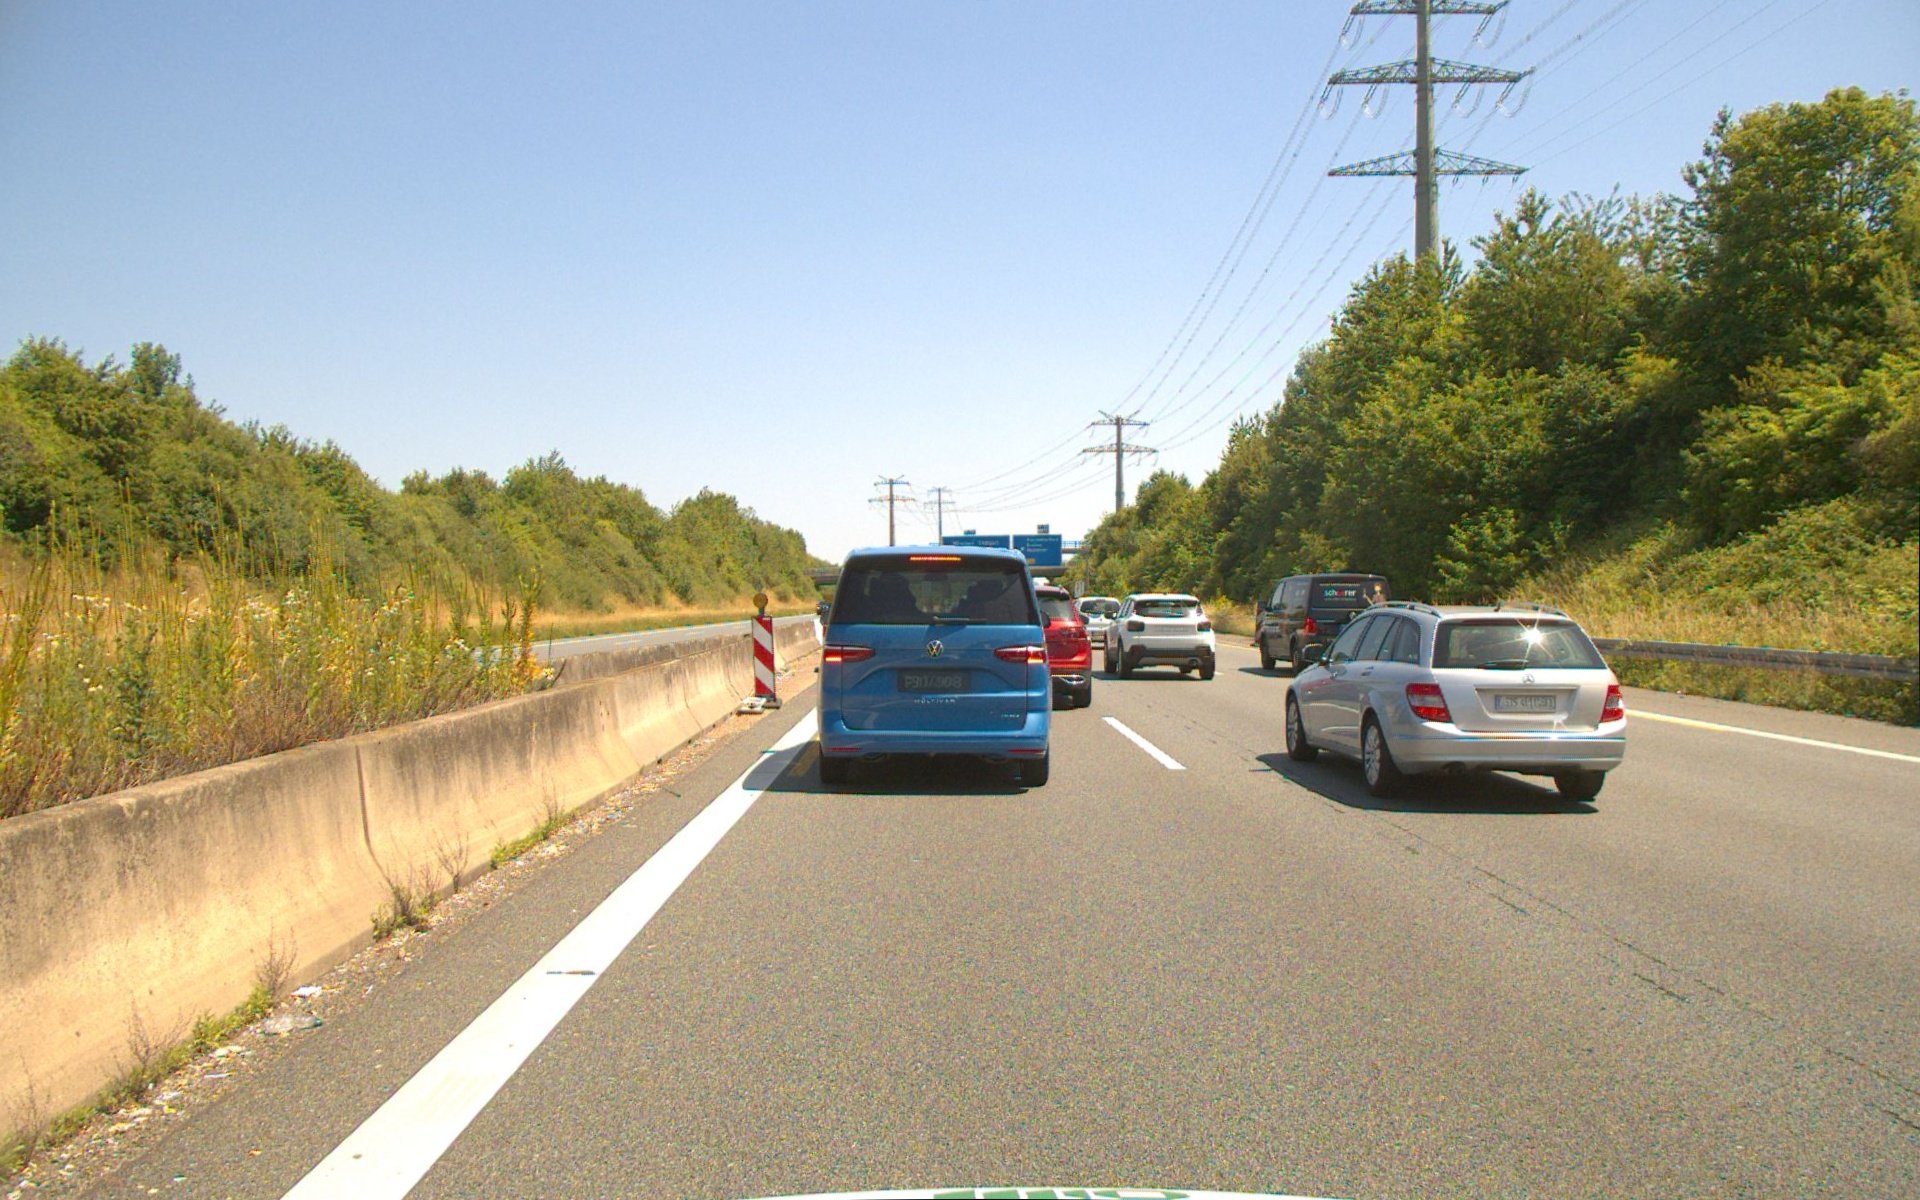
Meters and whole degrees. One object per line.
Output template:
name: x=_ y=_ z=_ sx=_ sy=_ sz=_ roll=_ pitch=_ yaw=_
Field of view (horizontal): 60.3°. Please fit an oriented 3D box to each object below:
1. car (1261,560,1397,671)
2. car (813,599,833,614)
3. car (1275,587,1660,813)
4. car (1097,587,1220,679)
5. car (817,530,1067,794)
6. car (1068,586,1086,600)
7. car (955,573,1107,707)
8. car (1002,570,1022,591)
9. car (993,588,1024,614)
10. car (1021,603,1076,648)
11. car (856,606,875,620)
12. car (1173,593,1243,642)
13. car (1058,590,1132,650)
car: x=7.299 y=0.296 z=33.122 sx=1.761 sy=2.049 sz=4.226 roll=1 pitch=0 yaw=0
car: x=-16.175 y=0.779 z=195.853 sx=1.953 sy=1.678 sz=4.629 roll=-3 pitch=0 yaw=-1
car: x=3.950 y=0.704 z=13.693 sx=1.735 sy=1.544 sz=4.358 roll=1 pitch=0 yaw=-2
car: x=3.703 y=0.592 z=31.554 sx=1.761 sy=1.622 sz=4.226 roll=1 pitch=0 yaw=-1
car: x=-0.190 y=0.473 z=14.572 sx=1.837 sy=1.945 sz=4.358 roll=1 pitch=0 yaw=-2
car: x=15.054 y=-0.864 z=212.268 sx=1.837 sy=1.700 sz=4.358 roll=1 pitch=0 yaw=-2
car: x=0.917 y=0.527 z=23.683 sx=1.837 sy=1.700 sz=4.358 roll=1 pitch=0 yaw=-2
car: x=6.574 y=-2.436 z=208.836 sx=2.329 sy=2.470 sz=4.226 roll=1 pitch=0 yaw=-1
car: x=3.032 y=0.071 z=104.681 sx=1.761 sy=1.622 sz=4.226 roll=1 pitch=0 yaw=-1
car: x=3.313 y=0.935 z=62.238 sx=1.761 sy=1.622 sz=4.226 roll=1 pitch=0 yaw=-1
car: x=-11.299 y=1.543 z=197.815 sx=1.953 sy=1.691 sz=4.229 roll=-1 pitch=0 yaw=-1
car: x=8.660 y=0.593 z=58.044 sx=1.761 sy=1.622 sz=4.226 roll=1 pitch=0 yaw=-1
car: x=3.903 y=0.565 z=48.420 sx=1.761 sy=1.622 sz=4.226 roll=1 pitch=0 yaw=-1
